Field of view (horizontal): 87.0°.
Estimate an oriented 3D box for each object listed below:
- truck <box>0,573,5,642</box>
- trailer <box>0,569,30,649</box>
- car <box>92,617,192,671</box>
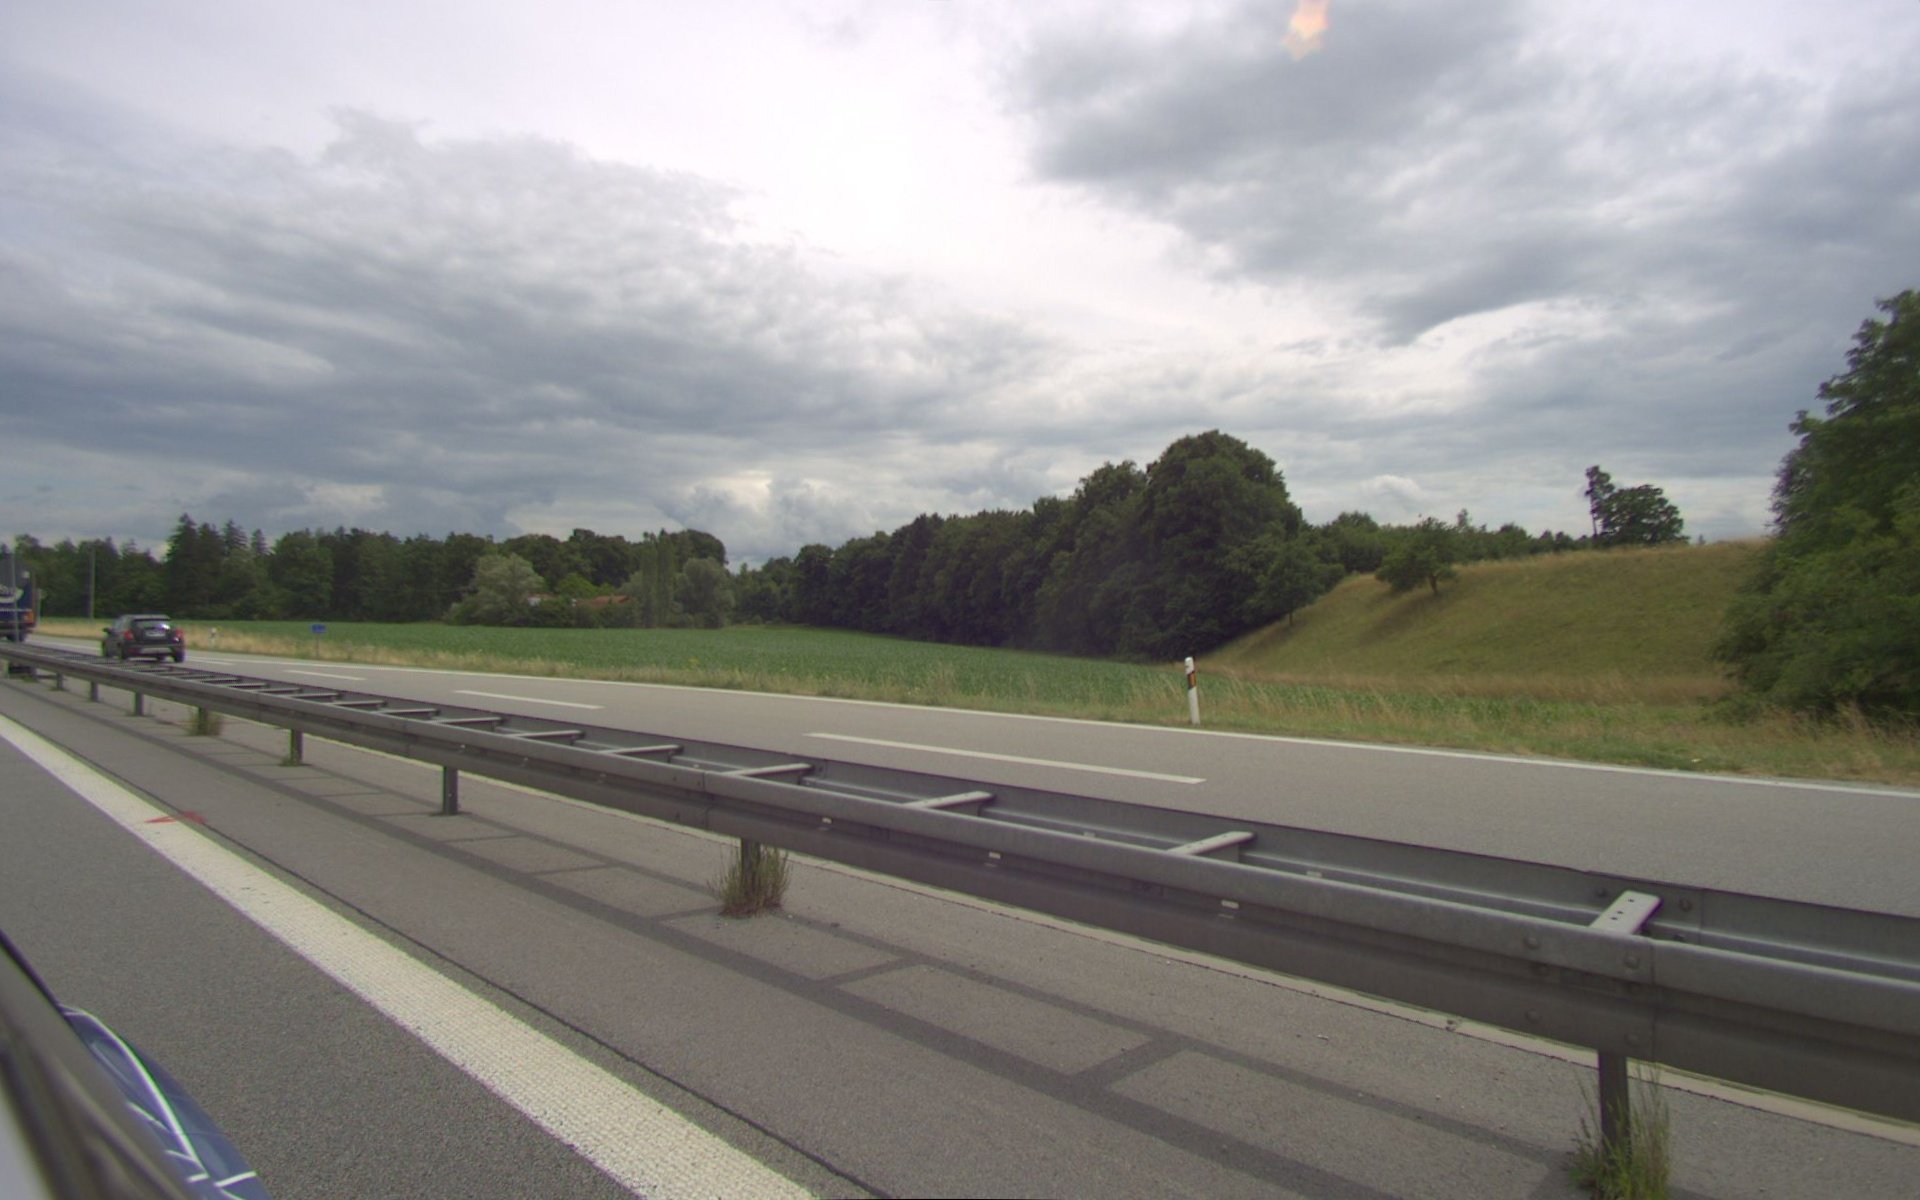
[{"bbox_3d":[-61.281,0.473,62.438,7.225,4.173,2.770,0,0,41],"label":"truck"},{"bbox_3d":[-55.911,0.482,57.748,13.557,4.204,2.770,0,0,41],"label":"trailer"},{"bbox_3d":[-28.441,1.470,35.148,4.231,1.696,1.973,0,0,41],"label":"car"}]
